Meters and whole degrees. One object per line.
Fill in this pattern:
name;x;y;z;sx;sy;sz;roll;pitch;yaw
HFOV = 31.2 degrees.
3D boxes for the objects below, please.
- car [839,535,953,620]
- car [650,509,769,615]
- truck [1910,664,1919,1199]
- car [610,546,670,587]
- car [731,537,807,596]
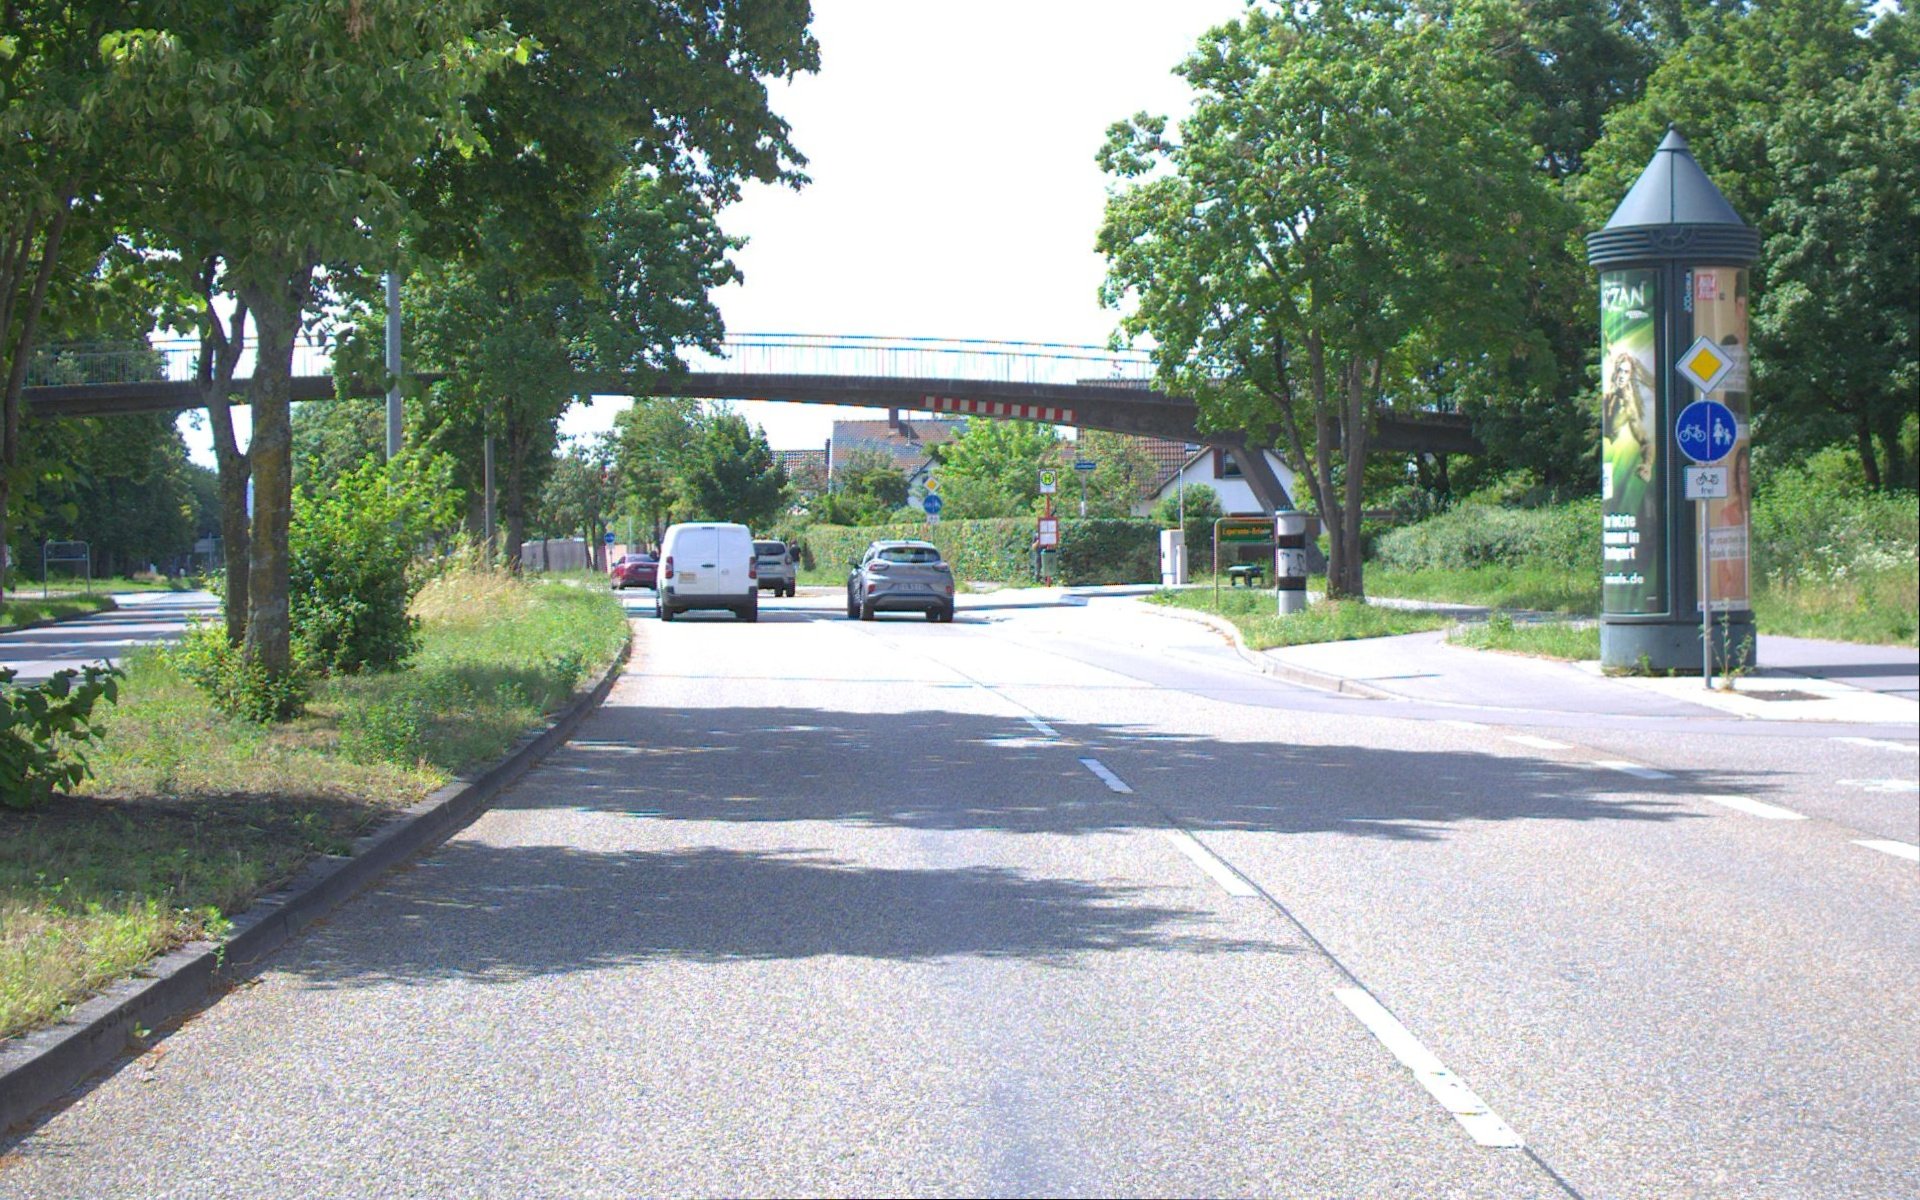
car;-1.266;-0.437;66.518;1.875;1.583;4.185;-1;0;-6
car;-4.762;-0.720;64.815;2.065;1.905;4.647;0;1;-6
truck;3.324;0.048;3.353;2.264;2.870;8.029;1;1;-2
car;-12.549;-1.320;134.661;1.879;1.582;4.001;0;1;-12
car;-5.496;-0.955;98.526;1.875;1.646;4.001;-1;0;-7
